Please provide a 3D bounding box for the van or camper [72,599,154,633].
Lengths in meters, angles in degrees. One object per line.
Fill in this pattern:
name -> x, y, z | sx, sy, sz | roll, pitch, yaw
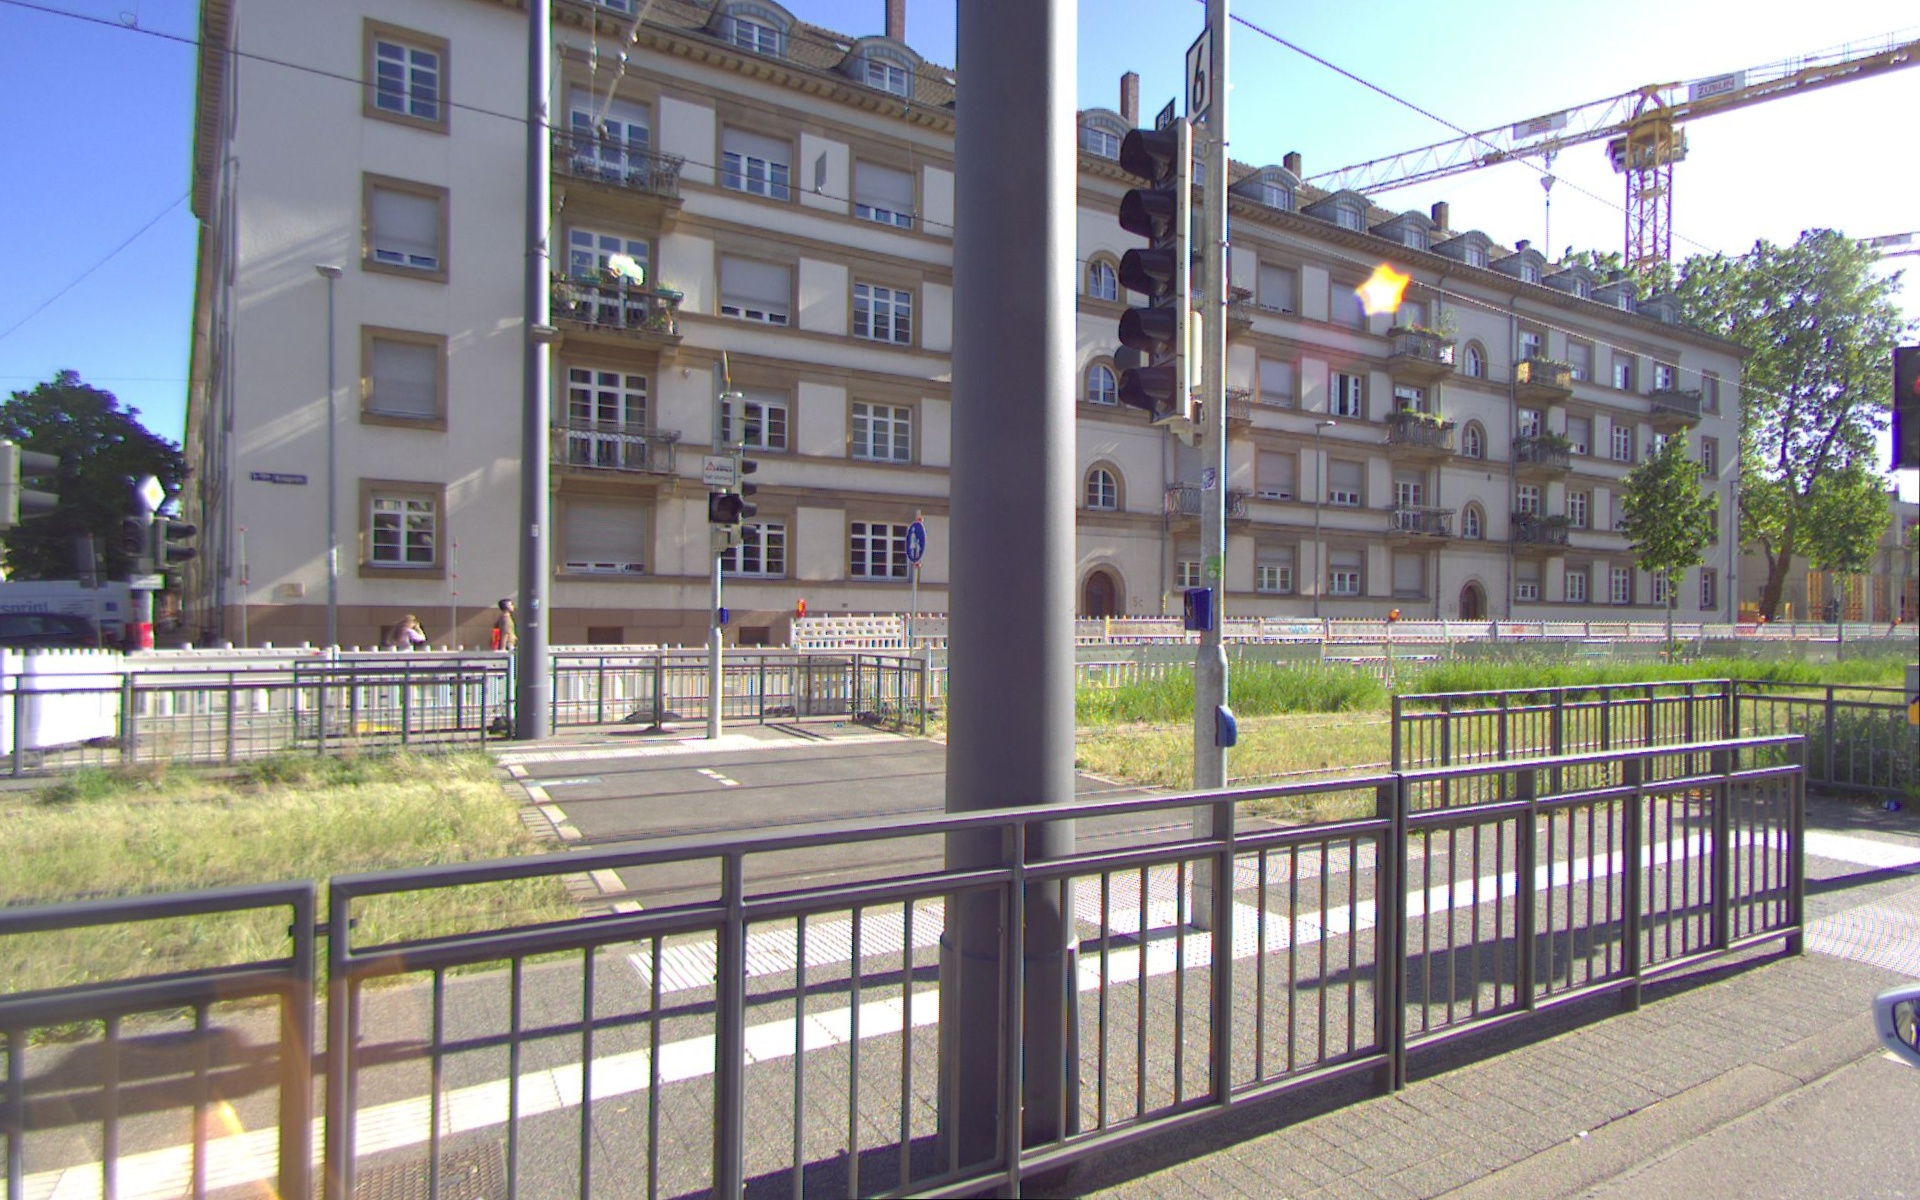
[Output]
van or camper -> -59.308, 1.116, 70.428 | 4.311, 2.244, 1.930 | 2, 0, -40

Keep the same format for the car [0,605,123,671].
car -> -24.917, 0.998, 26.702 | 3.965, 1.662, 1.849 | 2, 0, -38

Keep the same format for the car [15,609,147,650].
car -> -36.285, 1.231, 41.605 | 3.965, 1.576, 1.848 | 2, 0, -39

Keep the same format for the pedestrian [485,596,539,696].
pedestrian -> -8.793, 0.888, 19.697 | 0.861, 1.888, 0.763 | 2, 0, -30

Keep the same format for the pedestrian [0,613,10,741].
pedestrian -> -11.667, 0.905, 11.685 | 0.703, 1.524, 0.799 | 1, -1, -31

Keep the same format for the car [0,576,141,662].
car -> -28.151, 0.554, 29.969 | 5.710, 2.487, 1.977 | 2, 0, -40

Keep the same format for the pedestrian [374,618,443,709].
pedestrian -> -9.774, 1.106, 17.811 | 1.009, 1.538, 0.783 | 2, 0, -30

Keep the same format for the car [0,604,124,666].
car -> -26.296, 0.964, 28.410 | 3.965, 1.662, 1.849 | 2, 0, -38

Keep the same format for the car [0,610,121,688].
car -> -21.584, 1.078, 22.565 | 3.959, 1.662, 1.851 | 2, 0, -34
